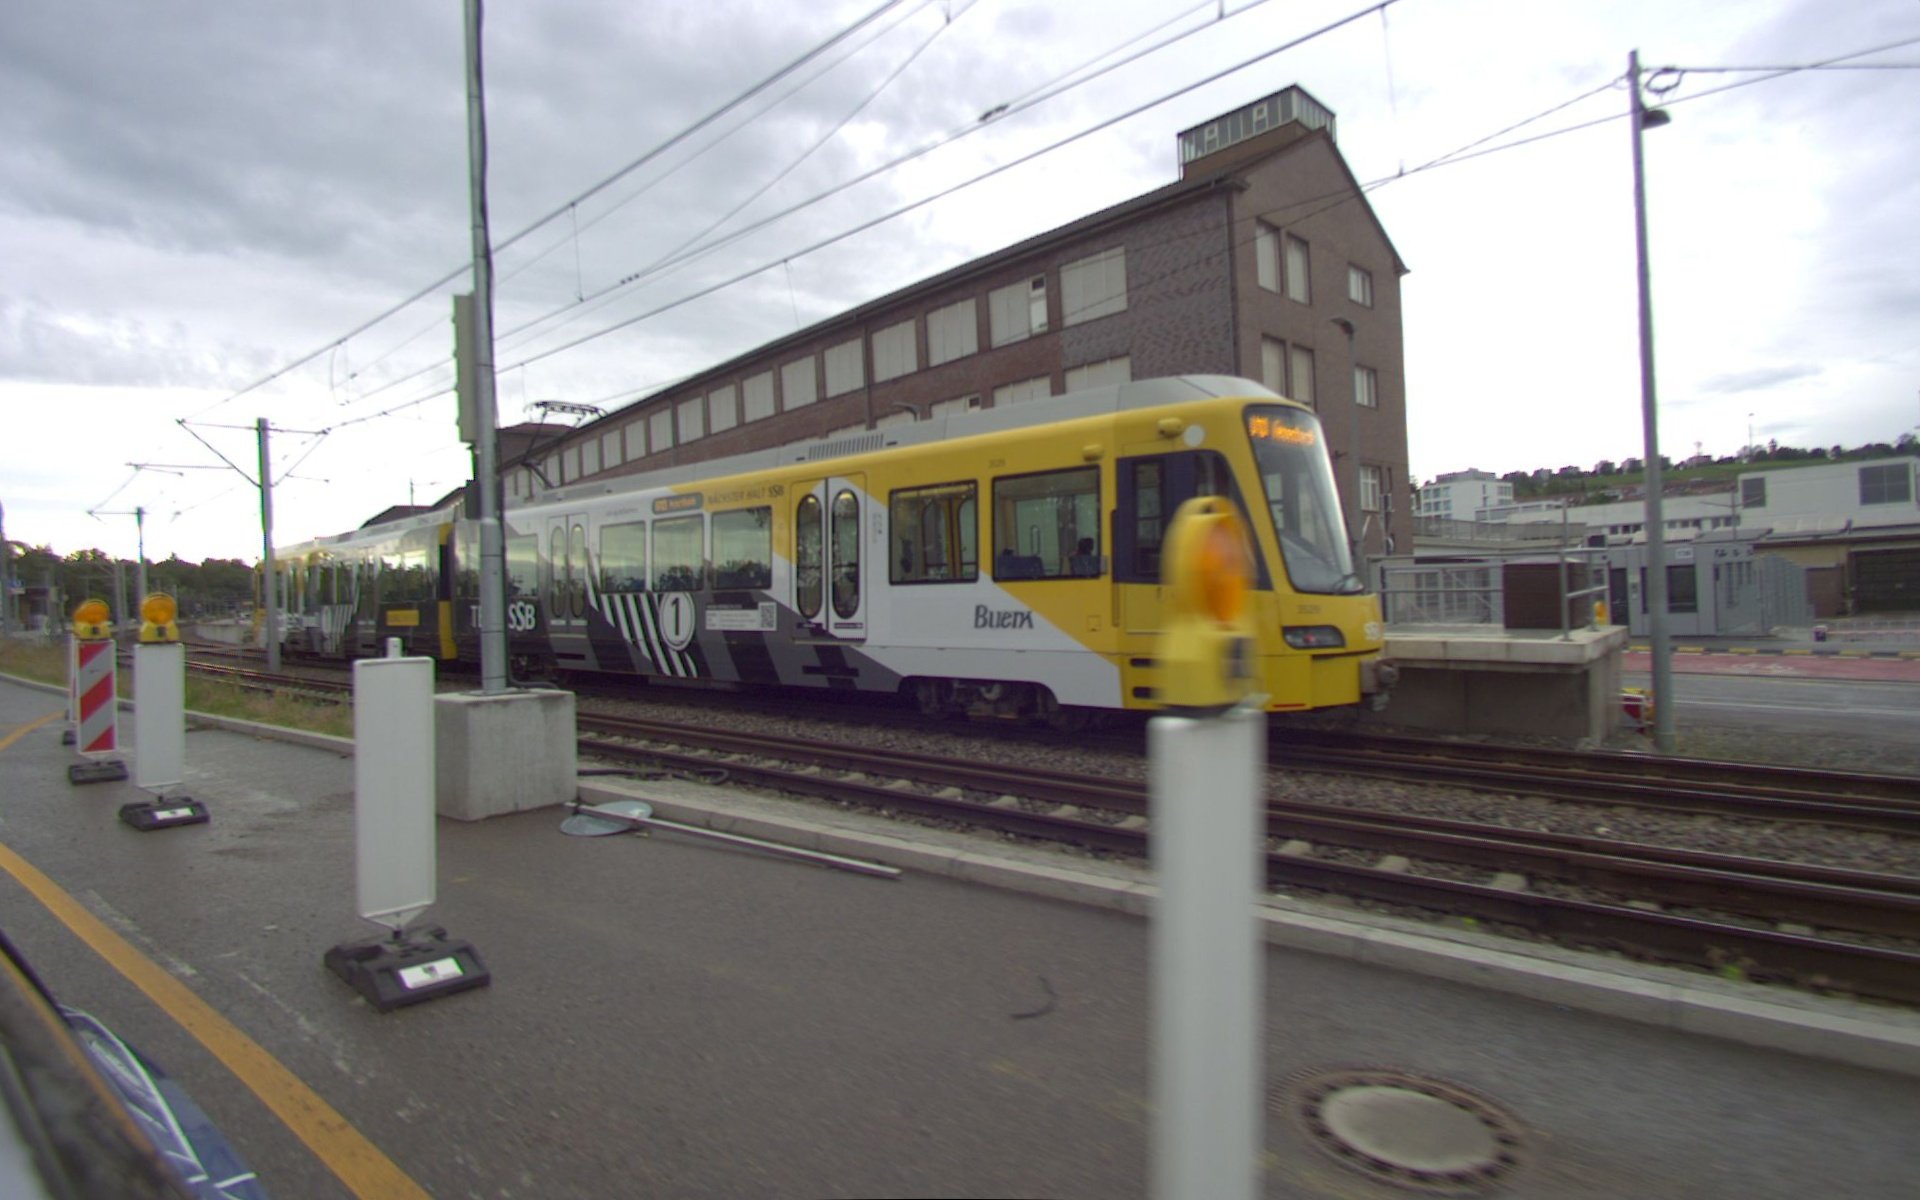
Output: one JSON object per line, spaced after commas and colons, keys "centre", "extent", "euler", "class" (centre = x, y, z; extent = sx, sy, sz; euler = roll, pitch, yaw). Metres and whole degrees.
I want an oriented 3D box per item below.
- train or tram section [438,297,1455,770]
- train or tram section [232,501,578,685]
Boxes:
{"centre": [-2.953, -0.421, 16.023], "extent": [19.289, 3.915, 2.923], "euler": [-1, 1, 43], "class": "train or tram section"}
{"centre": [-17.085, -0.025, 29.370], "extent": [19.575, 3.915, 2.923], "euler": [-1, 1, 44], "class": "train or tram section"}
